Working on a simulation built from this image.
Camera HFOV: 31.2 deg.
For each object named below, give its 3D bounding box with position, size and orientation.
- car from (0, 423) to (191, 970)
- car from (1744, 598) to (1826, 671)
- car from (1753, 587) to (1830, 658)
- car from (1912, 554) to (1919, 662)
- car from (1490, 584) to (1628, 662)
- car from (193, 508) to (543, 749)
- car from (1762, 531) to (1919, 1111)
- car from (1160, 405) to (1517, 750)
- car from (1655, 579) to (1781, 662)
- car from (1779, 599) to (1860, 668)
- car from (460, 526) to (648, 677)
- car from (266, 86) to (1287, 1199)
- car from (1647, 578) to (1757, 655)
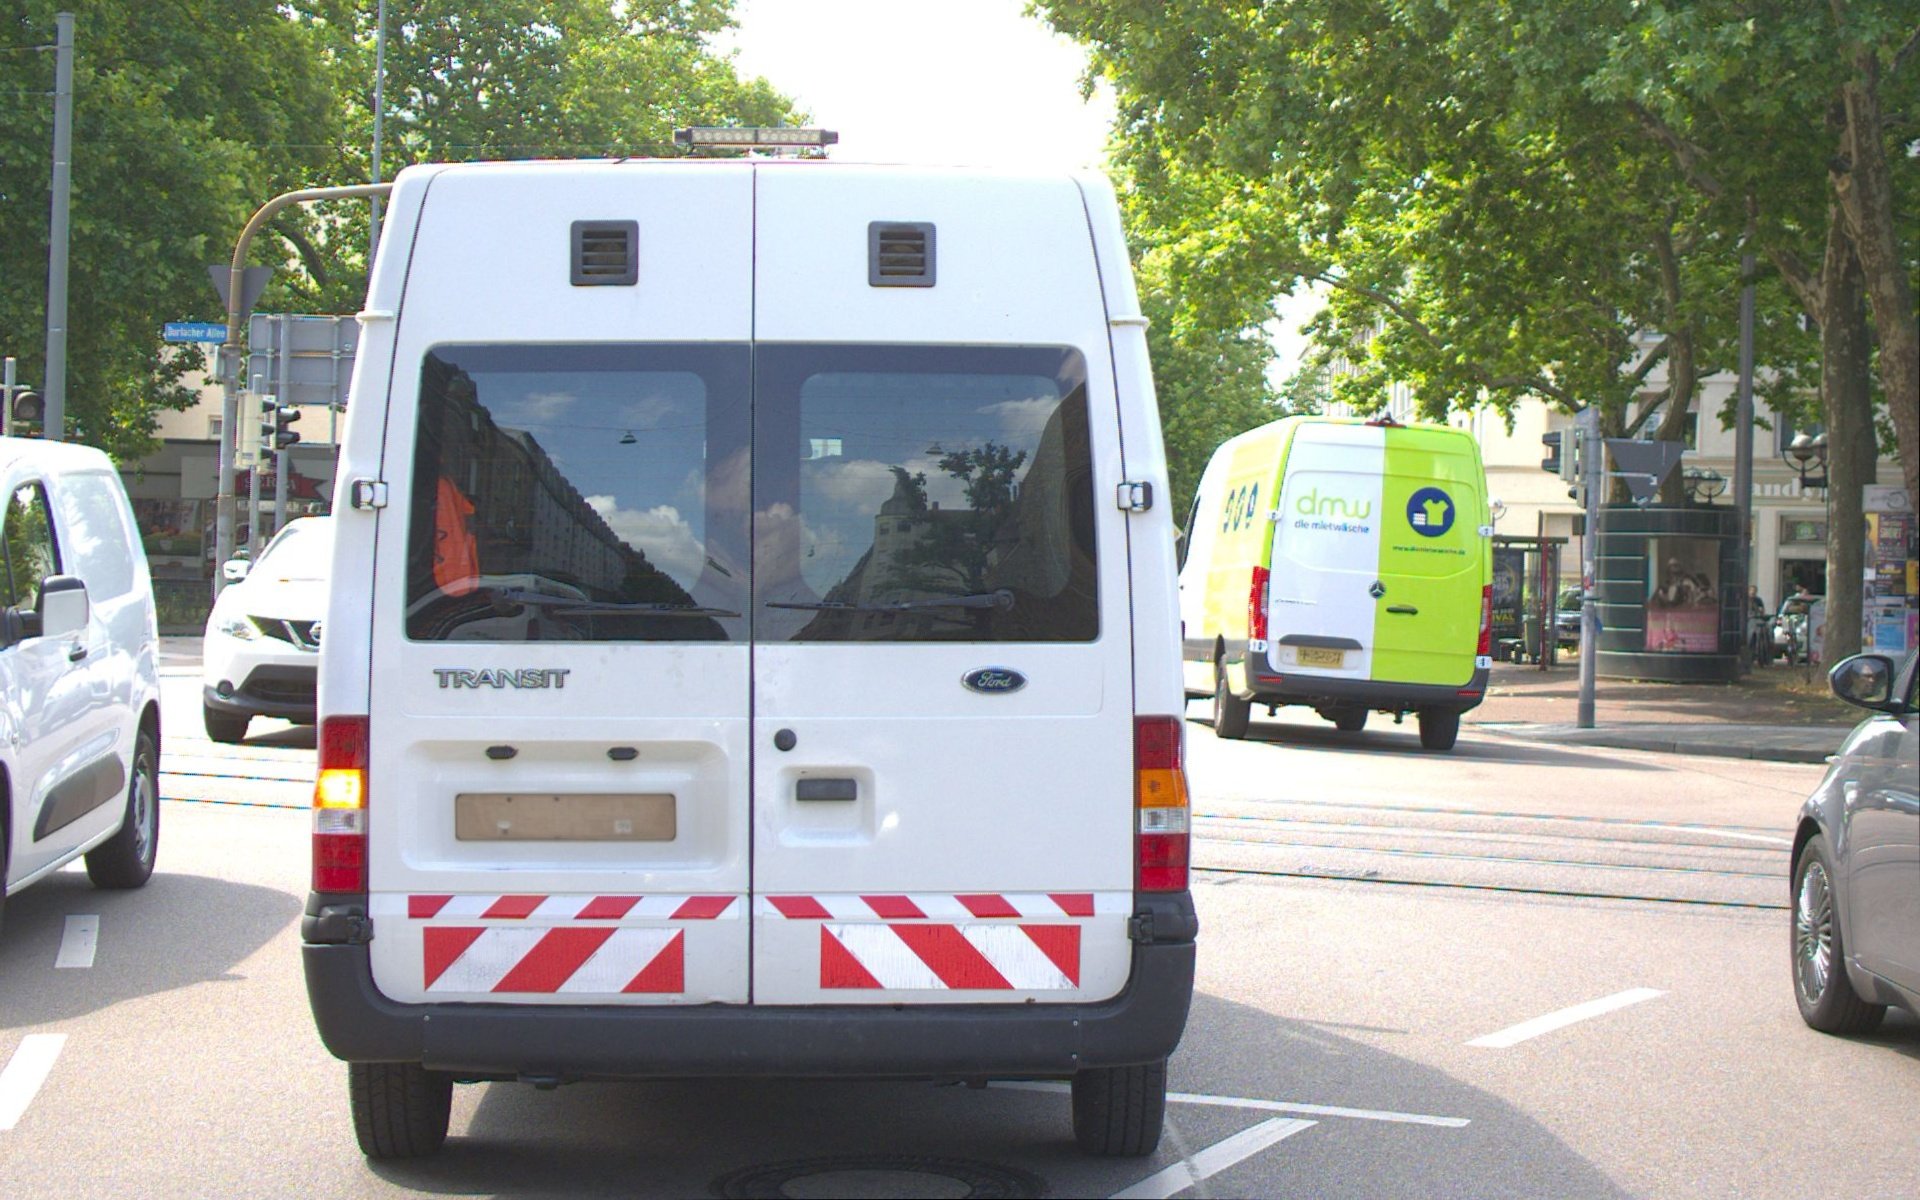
[{"bbox_3d":[-4.045,0.267,12.182,1.812,1.769,4.284,1,2,-2],"label":"car"},{"bbox_3d":[16.573,0.671,69.006,1.466,1.384,3.065,2,0,15],"label":"car"},{"bbox_3d":[20.337,0.538,84.047,1.467,1.660,3.064,2,0,19],"label":"car"},{"bbox_3d":[21.111,0.210,71.246,1.996,2.175,4.252,2,0,24],"label":"car"},{"bbox_3d":[13.116,0.498,75.114,2.030,1.595,4.533,2,0,22],"label":"car"},{"bbox_3d":[-4.108,0.136,24.459,1.770,1.577,4.021,0,1,0],"label":"car"},{"bbox_3d":[3.416,0.602,9.386,1.692,1.532,3.468,2,1,2],"label":"car"},{"bbox_3d":[3.134,-0.225,29.943,2.119,2.632,6.329,2,1,-2],"label":"car"},{"bbox_3d":[16.394,0.434,74.219,1.908,1.684,4.533,2,0,22],"label":"car"},{"bbox_3d":[18.191,0.694,72.716,1.466,1.384,3.233,2,0,17],"label":"car"},{"bbox_3d":[-4.360,-0.019,37.367,1.747,1.535,3.932,-1,1,-3],"label":"car"},{"bbox_3d":[-0.501,0.086,9.451,2.047,2.325,4.715,1,1,-3],"label":"car"},{"bbox_3d":[18.407,0.409,85.102,1.907,1.789,4.715,2,0,21],"label":"car"}]
